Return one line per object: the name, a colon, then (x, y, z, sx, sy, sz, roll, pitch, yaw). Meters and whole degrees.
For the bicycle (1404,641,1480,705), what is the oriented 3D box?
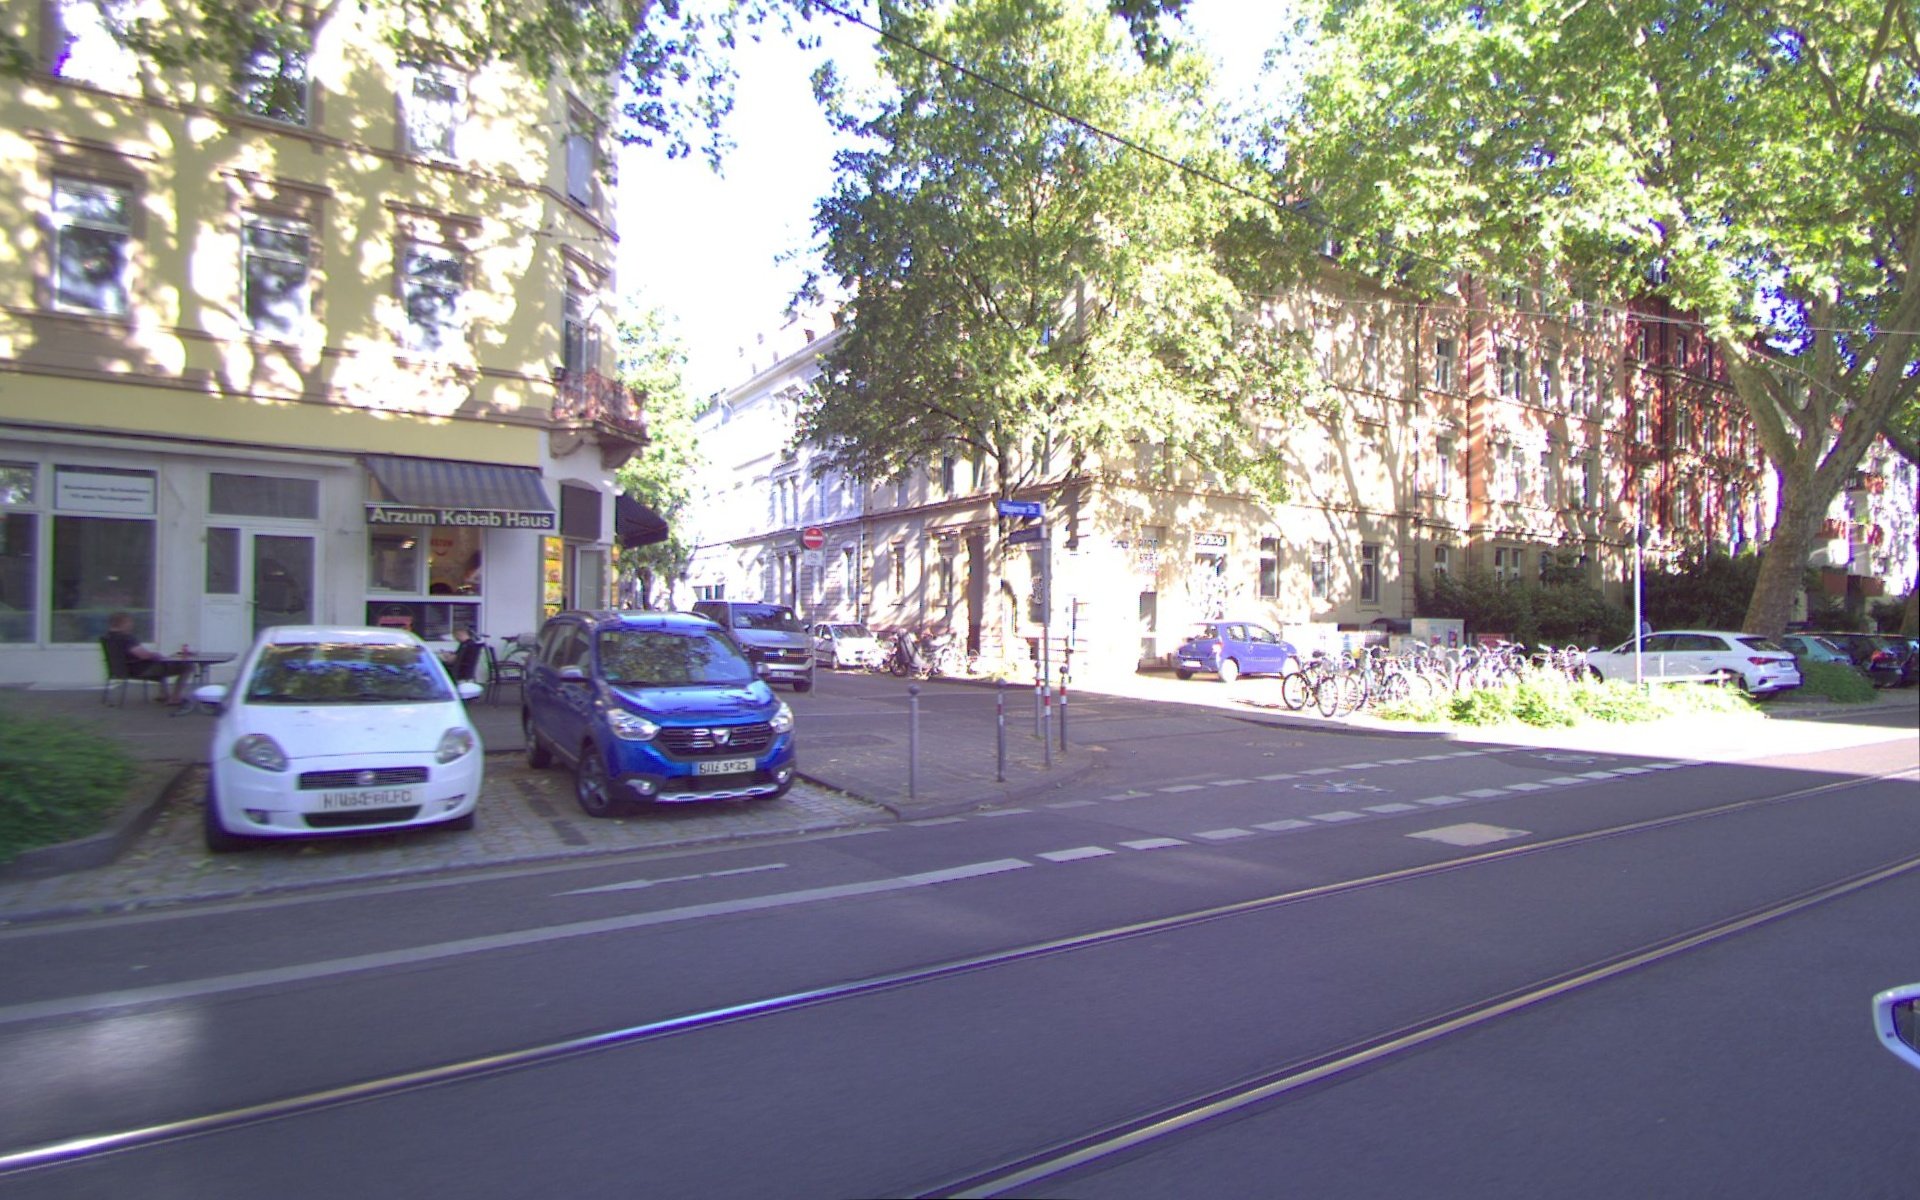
bicycle: (8.948, 1.338, 18.702, 0.389, 1.102, 1.559, 1, -1, -13)

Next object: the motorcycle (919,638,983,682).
motorcycle: (-0.231, 1.545, 26.178, 0.524, 1.086, 1.826, 0, -1, 45)

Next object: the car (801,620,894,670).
car: (-3.637, 1.410, 32.112, 1.736, 1.483, 3.371, 1, -1, -30)

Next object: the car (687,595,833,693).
car: (-4.626, 0.959, 22.670, 2.101, 1.905, 4.558, 4, -2, -25)

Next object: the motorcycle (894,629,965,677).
motorcycle: (-0.827, 1.430, 27.271, 1.851, 1.278, 0.586, 1, -1, -27)

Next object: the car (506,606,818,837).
car: (-3.131, 0.960, 9.867, 1.797, 1.734, 4.294, 1, -1, -33)

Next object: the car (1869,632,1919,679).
car: (32.682, 1.834, 32.909, 1.809, 1.516, 3.967, 1, -1, -31)

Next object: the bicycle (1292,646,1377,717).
bicycle: (6.408, 1.377, 17.282, 0.389, 1.102, 1.858, 1, -1, -13)

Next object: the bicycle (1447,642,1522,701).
bicycle: (10.390, 1.399, 19.953, 0.389, 1.102, 1.559, 1, -1, -13)

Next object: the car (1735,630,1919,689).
car: (24.760, 1.631, 28.575, 1.684, 1.479, 3.969, 1, -1, -29)

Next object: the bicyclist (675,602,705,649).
bicyclist: (-9.164, 0.863, 34.072, 0.729, 1.546, 0.861, 1, -1, -34)

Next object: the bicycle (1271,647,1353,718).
bicycle: (5.986, 1.374, 17.169, 0.389, 1.102, 1.858, 1, -1, -13)

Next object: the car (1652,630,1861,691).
car: (20.522, 1.514, 26.059, 1.586, 1.387, 3.969, 1, -1, -29)

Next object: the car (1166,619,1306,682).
car: (6.994, 1.243, 25.345, 3.454, 1.479, 1.588, 1, -1, -35)

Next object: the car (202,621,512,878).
car: (-4.947, 0.957, 8.156, 1.730, 1.538, 3.745, 1, -1, -35)

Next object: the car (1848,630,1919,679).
car: (30.635, 1.736, 31.562, 1.685, 1.479, 3.774, 1, 0, -30)

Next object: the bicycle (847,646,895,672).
bicycle: (-2.685, 1.777, 30.423, 1.436, 0.742, 0.395, 1, -1, -31)

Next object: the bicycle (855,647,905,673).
bicycle: (-2.382, 1.788, 29.921, 1.436, 0.742, 0.395, 1, -1, -31)

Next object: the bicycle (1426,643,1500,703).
bicycle: (9.915, 1.413, 19.848, 0.389, 1.102, 1.559, 1, -1, -13)

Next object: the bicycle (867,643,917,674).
bicycle: (-1.975, 1.708, 29.259, 1.436, 0.871, 0.395, 1, -1, -31)

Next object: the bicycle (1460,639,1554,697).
bicycle: (11.337, 1.393, 20.876, 0.587, 1.102, 1.920, 1, -1, -13)

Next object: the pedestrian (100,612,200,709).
pedestrian: (-10.839, 0.791, 13.476, 0.919, 1.257, 0.704, 1, -1, -30)

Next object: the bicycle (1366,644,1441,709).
bicycle: (8.101, 1.372, 18.394, 0.389, 1.102, 1.559, 1, -1, -13)

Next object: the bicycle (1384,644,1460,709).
bicycle: (8.522, 1.387, 18.585, 0.389, 1.102, 1.559, 1, -1, -13)

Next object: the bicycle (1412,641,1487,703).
bicycle: (9.321, 1.348, 19.194, 0.389, 1.102, 1.559, 1, -1, -13)

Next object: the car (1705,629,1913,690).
car: (22.798, 1.550, 27.133, 1.749, 1.479, 3.969, 1, -1, -29)

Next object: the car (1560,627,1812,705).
car: (15.282, 1.345, 21.344, 1.858, 1.479, 3.965, 3, -3, -32)

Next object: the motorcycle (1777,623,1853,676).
motorcycle: (28.268, 1.636, 33.200, 2.979, 1.653, 1.046, 2, 0, -32)

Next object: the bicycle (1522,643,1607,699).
bicycle: (12.584, 1.457, 20.973, 0.586, 1.057, 1.806, 1, -1, -4)

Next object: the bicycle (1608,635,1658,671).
bicycle: (22.439, 1.744, 33.484, 1.761, 1.154, 0.738, 1, -1, -32)

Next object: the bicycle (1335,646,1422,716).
bicycle: (7.256, 1.380, 17.493, 0.389, 1.102, 1.858, 1, -1, -13)

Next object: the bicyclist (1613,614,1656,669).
bicyclist: (22.472, 1.360, 33.465, 1.037, 1.786, 0.826, 1, -1, -32)
